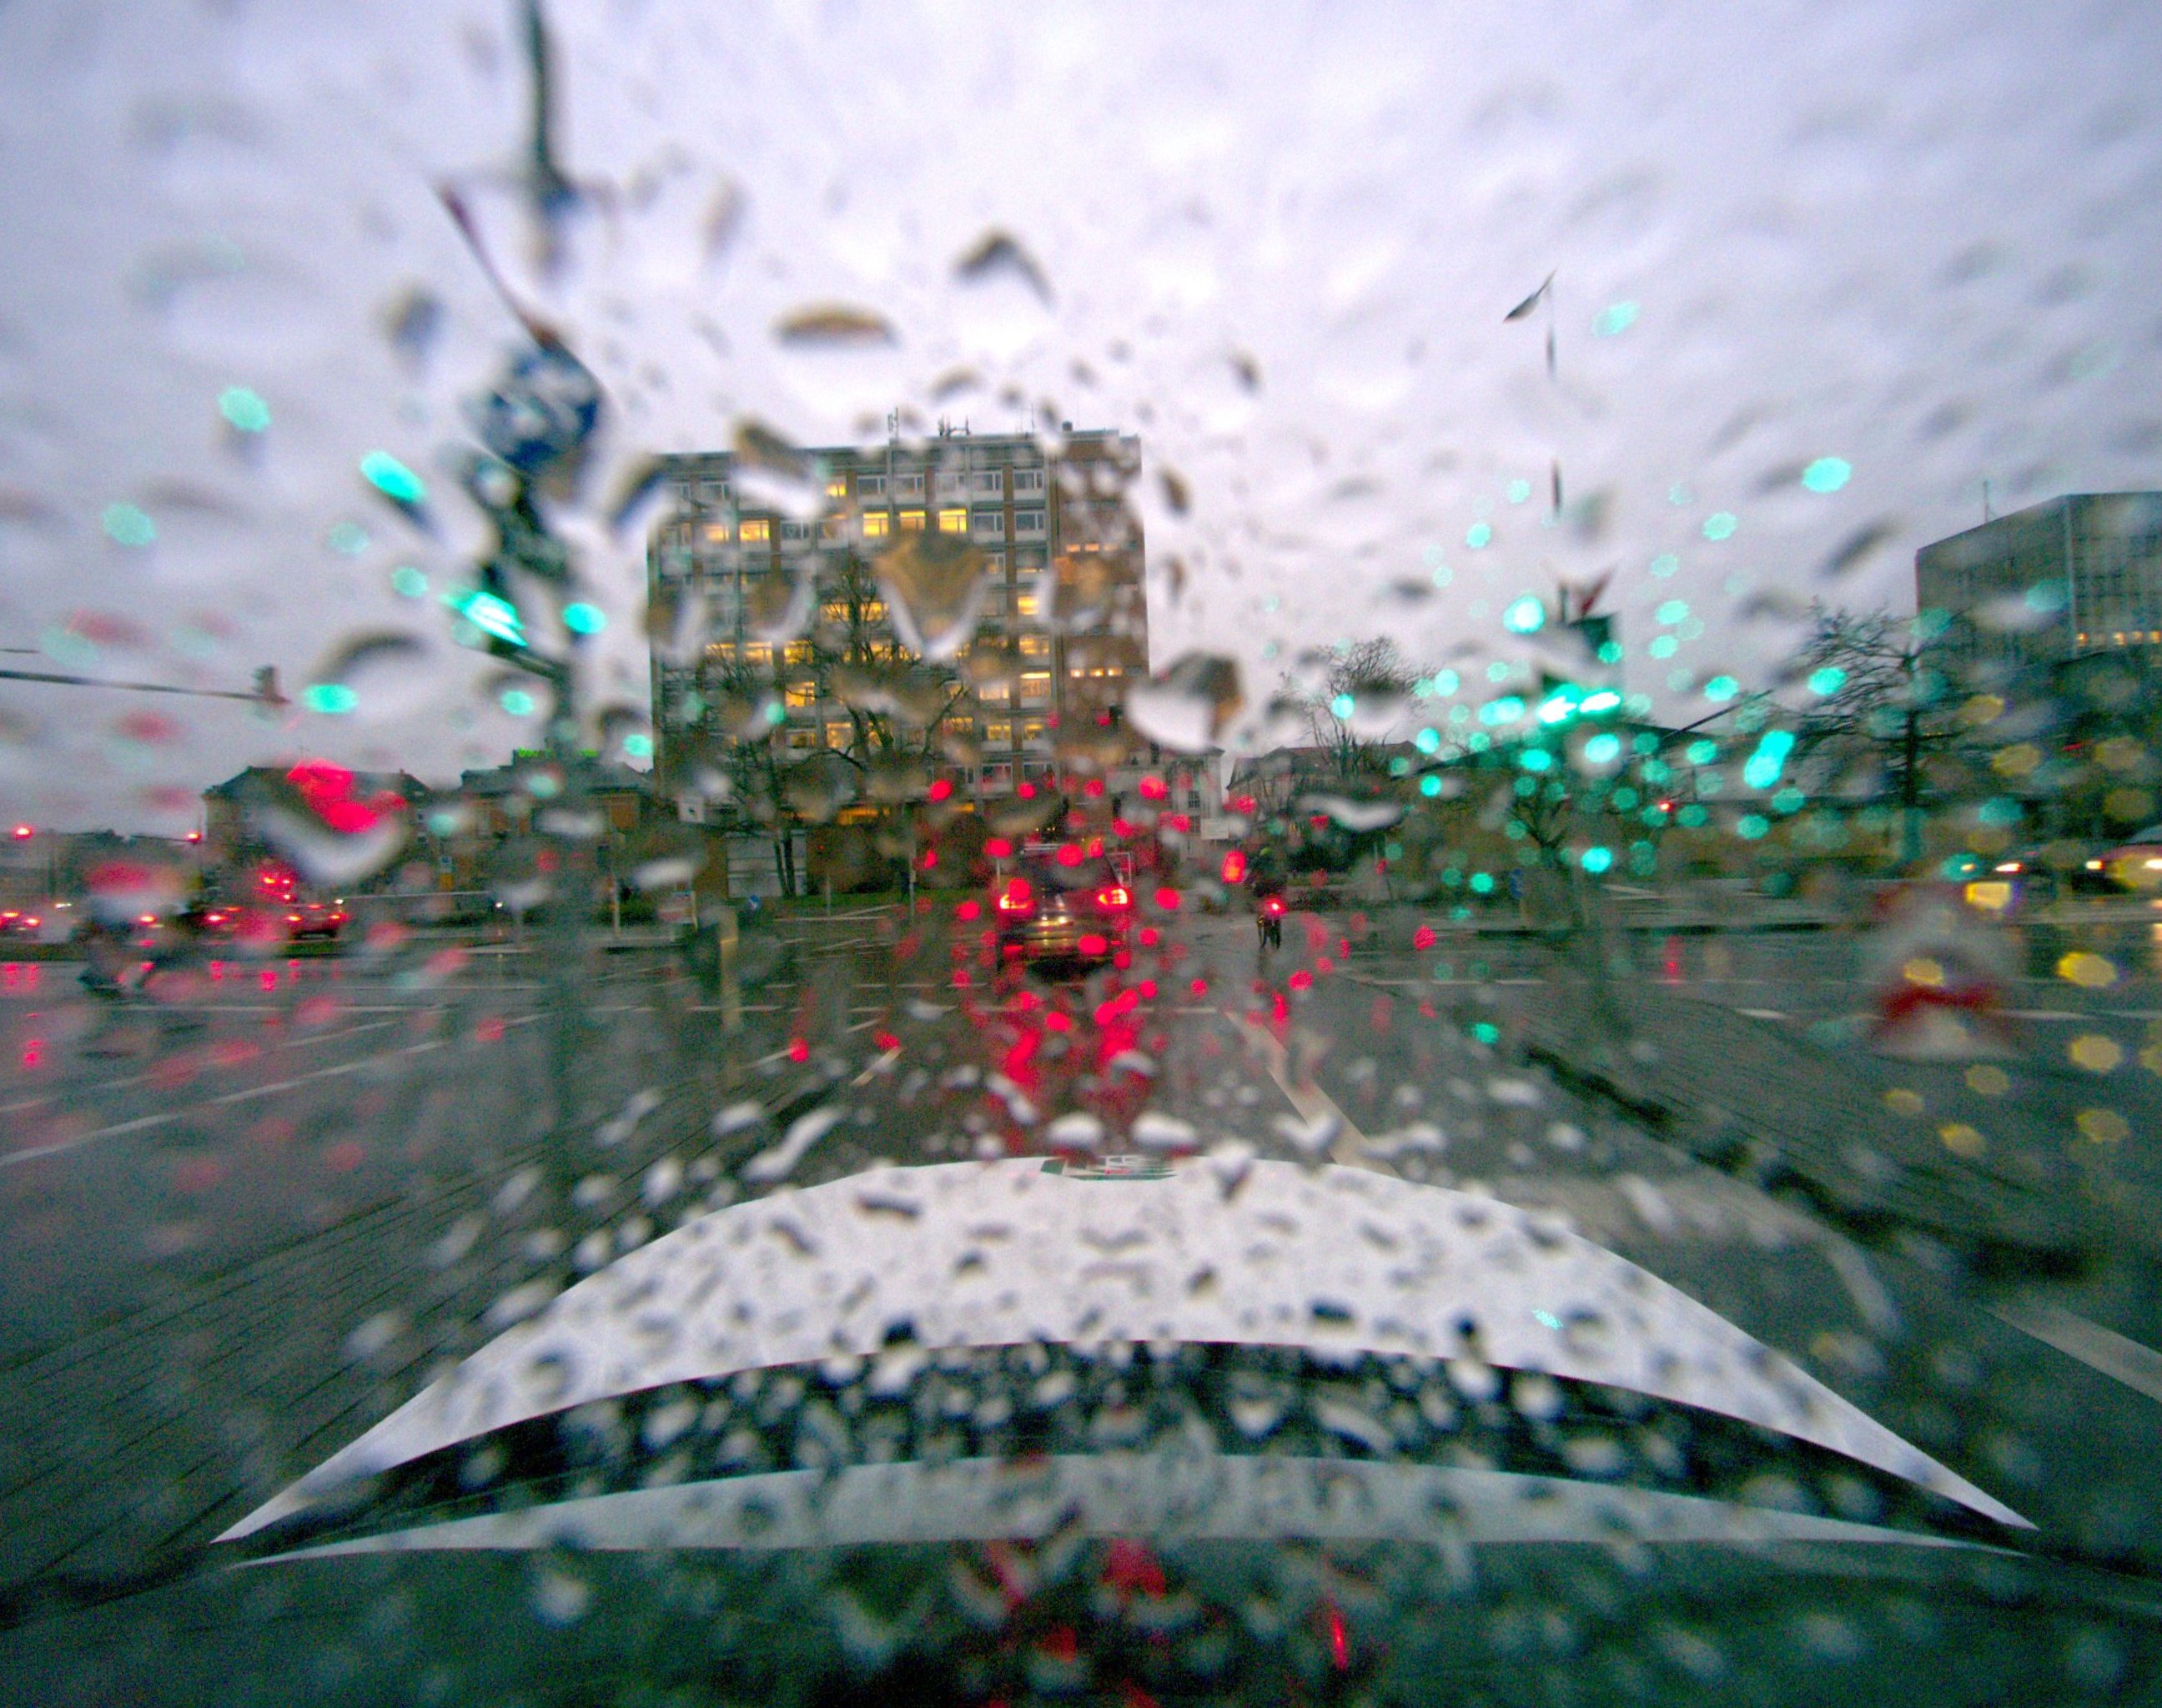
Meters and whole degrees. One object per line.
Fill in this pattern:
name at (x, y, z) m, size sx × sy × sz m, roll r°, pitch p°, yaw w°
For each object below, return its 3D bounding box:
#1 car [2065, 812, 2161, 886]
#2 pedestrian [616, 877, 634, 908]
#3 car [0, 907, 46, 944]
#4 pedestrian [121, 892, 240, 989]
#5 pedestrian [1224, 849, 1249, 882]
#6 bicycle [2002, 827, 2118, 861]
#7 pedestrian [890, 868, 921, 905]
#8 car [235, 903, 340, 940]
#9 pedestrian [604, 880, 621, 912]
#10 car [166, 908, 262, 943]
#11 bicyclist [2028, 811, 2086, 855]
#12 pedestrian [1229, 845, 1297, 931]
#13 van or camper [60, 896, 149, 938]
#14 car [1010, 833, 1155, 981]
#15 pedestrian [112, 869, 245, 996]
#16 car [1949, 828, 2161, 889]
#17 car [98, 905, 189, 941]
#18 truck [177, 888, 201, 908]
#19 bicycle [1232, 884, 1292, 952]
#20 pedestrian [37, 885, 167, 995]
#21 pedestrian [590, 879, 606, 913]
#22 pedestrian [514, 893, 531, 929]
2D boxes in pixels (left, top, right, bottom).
car at (28.616, -0.235, 20.510) m, size 4.906 × 1.749 × 2.003 m, roll -3°, pitch 0°, yaw 5°
pedestrian at (-25.544, 2.133, 45.656) m, size 0.724 × 1.687 × 0.751 m, roll -2°, pitch -1°, yaw -38°
car at (-56.173, 3.752, 42.536) m, size 3.949 × 1.772 × 1.902 m, roll -3°, pitch -1°, yaw 28°
pedestrian at (-18.286, 1.730, 16.570) m, size 1.227 × 1.858 × 1.034 m, roll 0°, pitch 0°, yaw -3°
pedestrian at (8.249, 0.592, 43.251) m, size 0.932 × 1.687 × 0.902 m, roll -2°, pitch 2°, yaw -37°
bicycle at (34.360, -0.336, 28.609) m, size 2.879 × 1.015 × 0.796 m, roll -3°, pitch 0°, yaw 5°
pedestrian at (-8.469, 1.548, 39.329) m, size 1.057 × 1.687 × 0.814 m, roll -3°, pitch 1°, yaw 22°
car at (-33.362, 2.834, 34.239) m, size 3.825 × 1.482 × 1.715 m, roll -2°, pitch -3°, yaw 22°
pedestrian at (-25.938, 2.310, 45.092) m, size 0.673 × 1.687 × 0.605 m, roll -4°, pitch 2°, yaw -37°
car at (-39.278, 3.241, 36.897) m, size 4.070 × 1.404 × 1.673 m, roll -3°, pitch -3°, yaw 23°
bicyclist at (34.271, -0.724, 28.613) m, size 0.986 × 1.489 × 0.769 m, roll -3°, pitch -1°, yaw 6°
pedestrian at (2.960, 0.539, 13.337) m, size 0.871 × 1.316 × 0.848 m, roll -3°, pitch -1°, yaw 2°
van or camper at (-53.046, 3.429, 44.233) m, size 4.923 × 2.109 × 2.222 m, roll -3°, pitch -2°, yaw 30°
car at (-0.169, 0.710, 12.445) m, size 1.775 × 1.800 × 4.415 m, roll -2°, pitch -1°, yaw -5°
pedestrian at (-15.588, 1.302, 14.100) m, size 1.024 × 2.050 × 1.221 m, roll 0°, pitch 0°, yaw 18°
car at (28.432, 0.132, 23.576) m, size 4.435 × 1.486 × 1.777 m, roll -3°, pitch 0°, yaw 5°
car at (-45.785, 3.379, 39.772) m, size 4.484 × 1.601 × 1.801 m, roll -3°, pitch -3°, yaw 26°
truck at (-132.264, 6.516, 120.771) m, size 2.012 × 2.691 × 5.052 m, roll -2°, pitch -1°, yaw -44°
bicycle at (2.983, 1.028, 13.612) m, size 0.559 × 0.947 × 2.096 m, roll -3°, pitch 0°, yaw 2°
pedestrian at (-17.683, 1.515, 14.752) m, size 1.067 × 1.858 × 1.032 m, roll 0°, pitch 0°, yaw -11°
pedestrian at (-26.513, 2.291, 44.665) m, size 0.588 × 1.781 × 0.760 m, roll -4°, pitch 0°, yaw -37°
pedestrian at (-33.177, 3.375, 48.344) m, size 0.814 × 2.013 × 0.752 m, roll 0°, pitch 0°, yaw -37°
